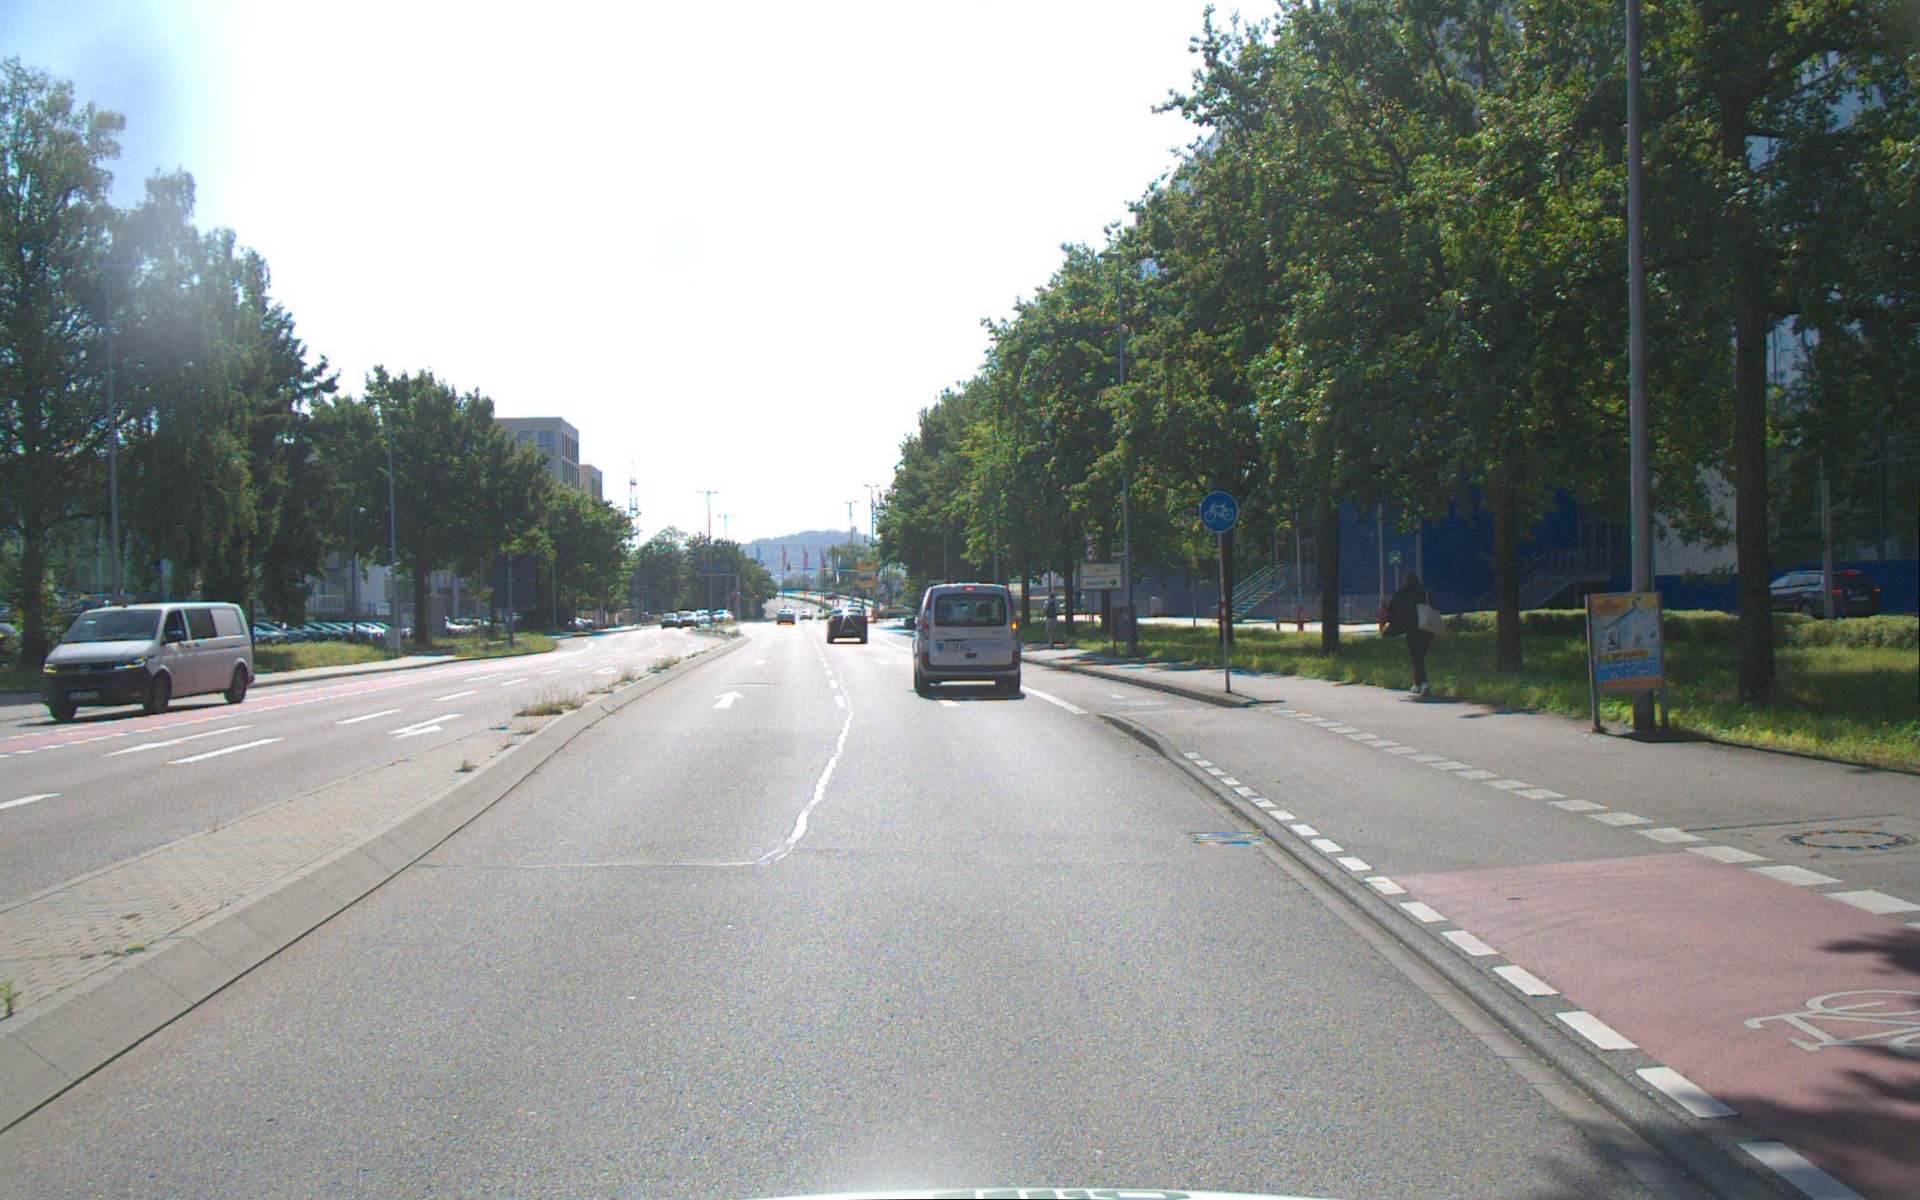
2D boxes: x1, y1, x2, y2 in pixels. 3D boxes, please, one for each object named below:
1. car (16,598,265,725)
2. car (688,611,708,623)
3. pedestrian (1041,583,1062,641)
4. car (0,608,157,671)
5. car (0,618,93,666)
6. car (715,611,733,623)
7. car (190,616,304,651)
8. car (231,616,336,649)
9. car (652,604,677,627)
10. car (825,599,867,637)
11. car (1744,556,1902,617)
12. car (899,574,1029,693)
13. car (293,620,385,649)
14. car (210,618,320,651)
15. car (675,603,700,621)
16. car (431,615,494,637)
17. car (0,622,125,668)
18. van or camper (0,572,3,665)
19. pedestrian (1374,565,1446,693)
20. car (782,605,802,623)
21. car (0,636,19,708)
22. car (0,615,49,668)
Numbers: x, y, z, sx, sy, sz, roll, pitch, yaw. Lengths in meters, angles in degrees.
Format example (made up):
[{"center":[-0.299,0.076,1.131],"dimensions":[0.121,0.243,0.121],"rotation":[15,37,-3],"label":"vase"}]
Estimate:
[{"center":[-15.018,1.039,30.716],"dimensions":[1.953,2.049,5.346],"rotation":[-2,0,-1],"label":"car"},{"center":[-32.697,2.124,206.777],"dimensions":[1.853,1.489,3.999],"rotation":[-2,0,-1],"label":"car"},{"center":[3.024,0.394,54.670],"dimensions":[0.524,1.874,0.727],"rotation":[-2,0,-5],"label":"pedestrian"},{"center":[-29.256,1.276,54.894],"dimensions":[4.181,1.917,1.953],"rotation":[-2,0,-3],"label":"car"},{"center":[-28.532,1.287,49.693],"dimensions":[4.003,1.378,1.743],"rotation":[-2,-1,0],"label":"car"},{"center":[-29.704,2.128,208.253],"dimensions":[1.779,1.489,3.999],"rotation":[-2,0,-1],"label":"car"},{"center":[-31.609,1.487,73.403],"dimensions":[4.181,1.374,1.953],"rotation":[-2,0,-3],"label":"car"},{"center":[-32.072,1.531,78.479],"dimensions":[4.181,1.374,1.953],"rotation":[-2,0,-3],"label":"car"},{"center":[-28.534,1.489,159.793],"dimensions":[1.954,2.049,3.997],"rotation":[1,1,-4],"label":"car"},{"center":[-5.347,0.843,78.068],"dimensions":[1.771,1.668,4.457],"rotation":[-2,0,-2],"label":"car"},{"center":[23.868,-0.356,45.944],"dimensions":[1.868,1.547,4.370],"rotation":[-2,0,-4],"label":"car"},{"center":[-0.002,0.552,28.833],"dimensions":[1.868,1.861,4.175],"rotation":[-2,0,-5],"label":"car"},{"center":[-33.237,1.853,88.643],"dimensions":[4.181,1.374,1.953],"rotation":[-2,0,-3],"label":"car"},{"center":[-31.876,1.578,75.913],"dimensions":[4.181,1.374,1.953],"rotation":[-2,0,-3],"label":"car"},{"center":[-24.818,1.119,150.885],"dimensions":[1.805,1.489,4.994],"rotation":[-4,0,-5],"label":"car"},{"center":[-35.038,1.823,116.566],"dimensions":[3.909,1.400,1.922],"rotation":[-2,0,-5],"label":"car"},{"center":[-28.911,1.415,52.390],"dimensions":[4.006,1.316,1.742],"rotation":[-2,0,-3],"label":"car"},{"center":[-28.237,0.487,43.124],"dimensions":[5.276,2.514,1.997],"rotation":[1,1,-8],"label":"van or camper"},{"center":[5.946,0.376,21.879],"dimensions":[0.634,1.631,0.846],"rotation":[-2,0,-4],"label":"pedestrian"},{"center":[-17.016,1.379,167.596],"dimensions":[1.954,1.713,3.996],"rotation":[-2,0,-5],"label":"car"},{"center":[-21.776,1.539,34.059],"dimensions":[4.575,1.438,1.998],"rotation":[-2,0,27],"label":"car"},{"center":[-28.577,1.225,47.316],"dimensions":[4.003,1.464,1.744],"rotation":[-2,0,0],"label":"car"}]
